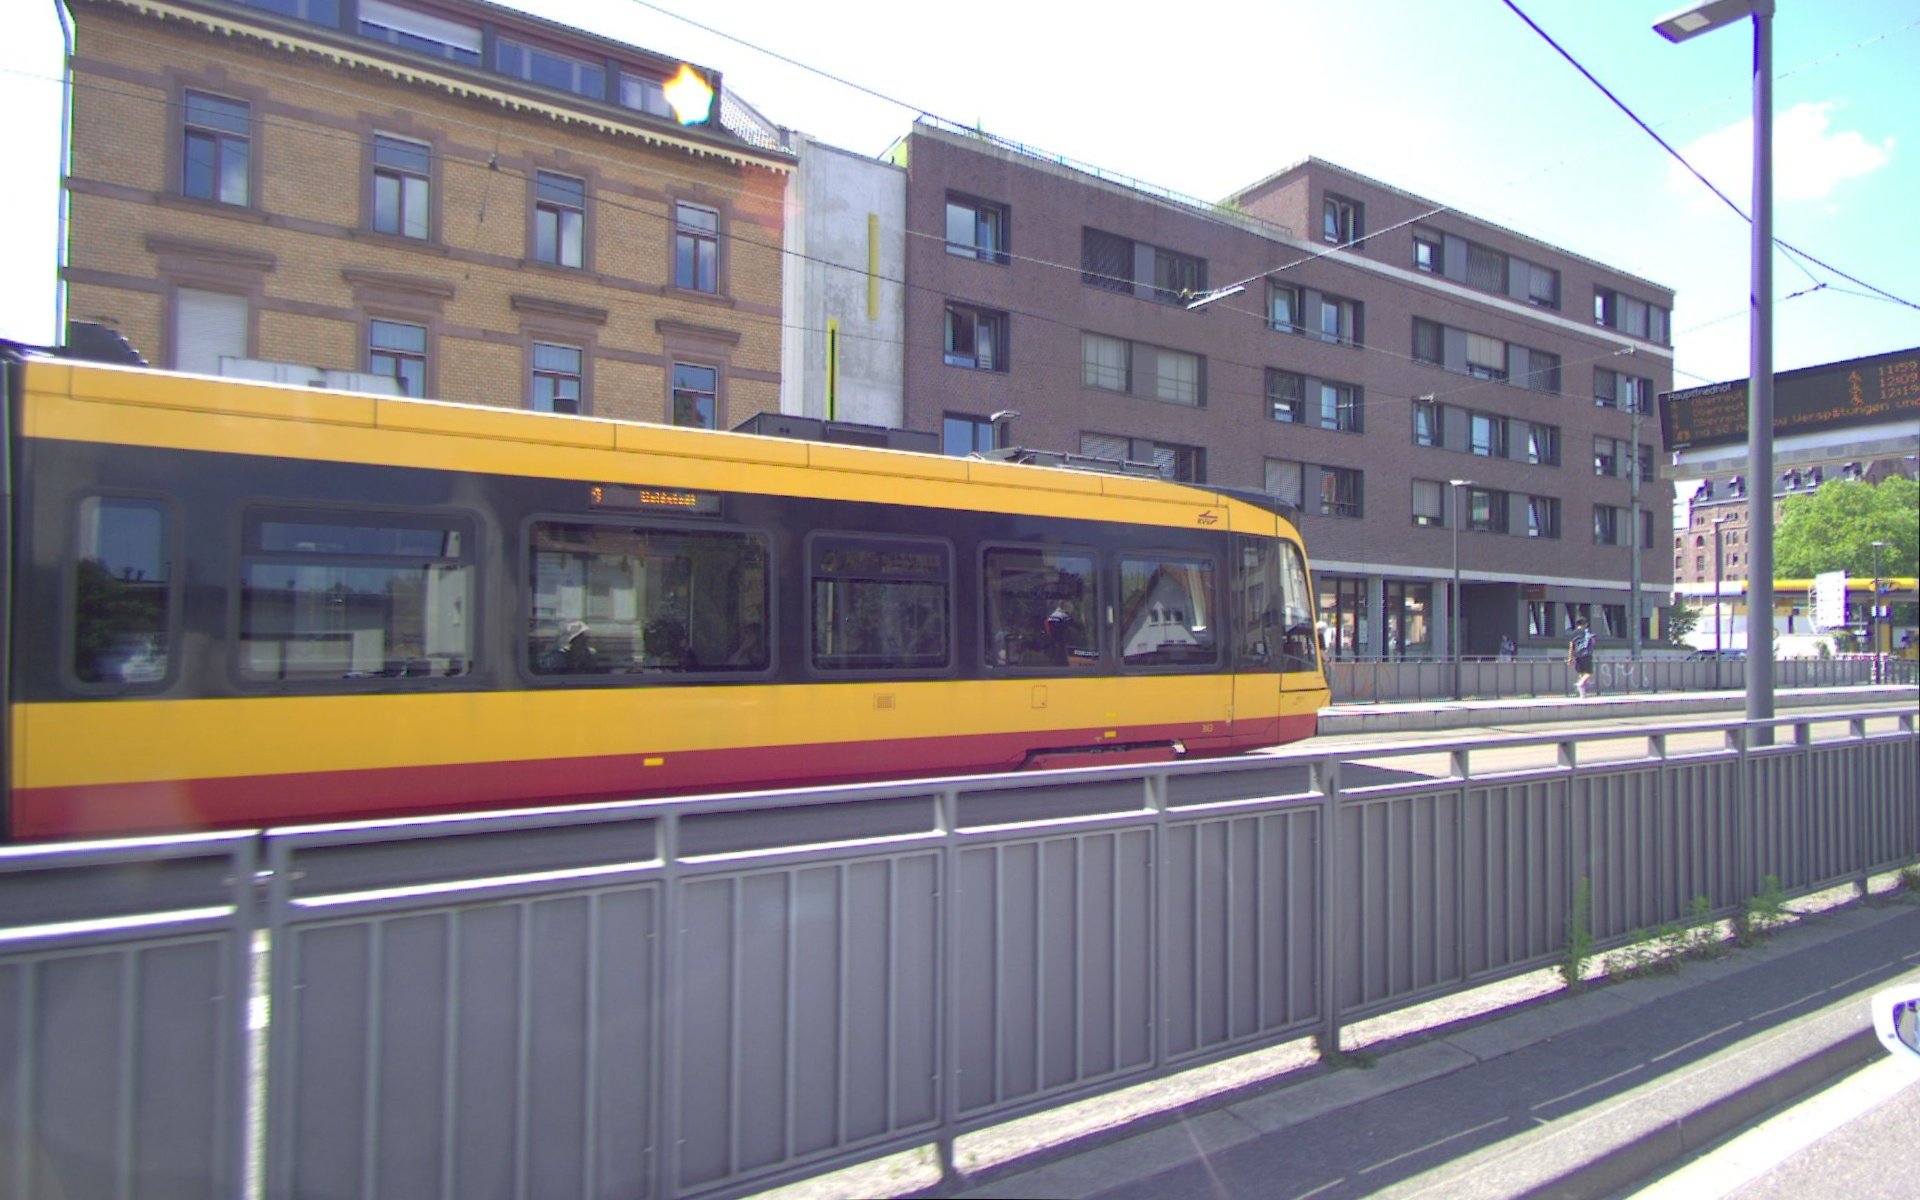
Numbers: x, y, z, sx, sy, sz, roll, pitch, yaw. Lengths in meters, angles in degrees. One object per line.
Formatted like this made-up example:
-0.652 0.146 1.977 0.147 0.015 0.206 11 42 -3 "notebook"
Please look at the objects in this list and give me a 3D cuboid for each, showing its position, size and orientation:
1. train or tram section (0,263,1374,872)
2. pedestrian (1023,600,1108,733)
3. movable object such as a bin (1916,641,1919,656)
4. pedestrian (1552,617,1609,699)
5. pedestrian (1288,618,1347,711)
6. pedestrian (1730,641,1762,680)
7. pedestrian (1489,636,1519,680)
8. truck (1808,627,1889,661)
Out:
-2.622 -0.010 9.663 16.160 3.614 3.220 2 -2 -31 "train or tram section"
1.500 0.933 14.332 0.941 1.822 0.756 2 -2 -31 "pedestrian"
88.569 4.451 91.988 0.748 1.372 1.340 2 -2 -25 "movable object such as a bin"
13.886 1.291 22.490 1.022 1.783 0.682 2 -2 -31 "pedestrian"
6.388 1.139 17.949 0.752 1.617 0.682 2 -2 -31 "pedestrian"
33.950 2.599 43.404 0.990 1.617 0.755 2 2 -35 "pedestrian"
20.103 2.126 37.108 0.752 1.617 0.682 2 -2 -31 "pedestrian"
70.921 3.517 80.240 5.107 2.531 1.998 2 -1 -7 "truck"
